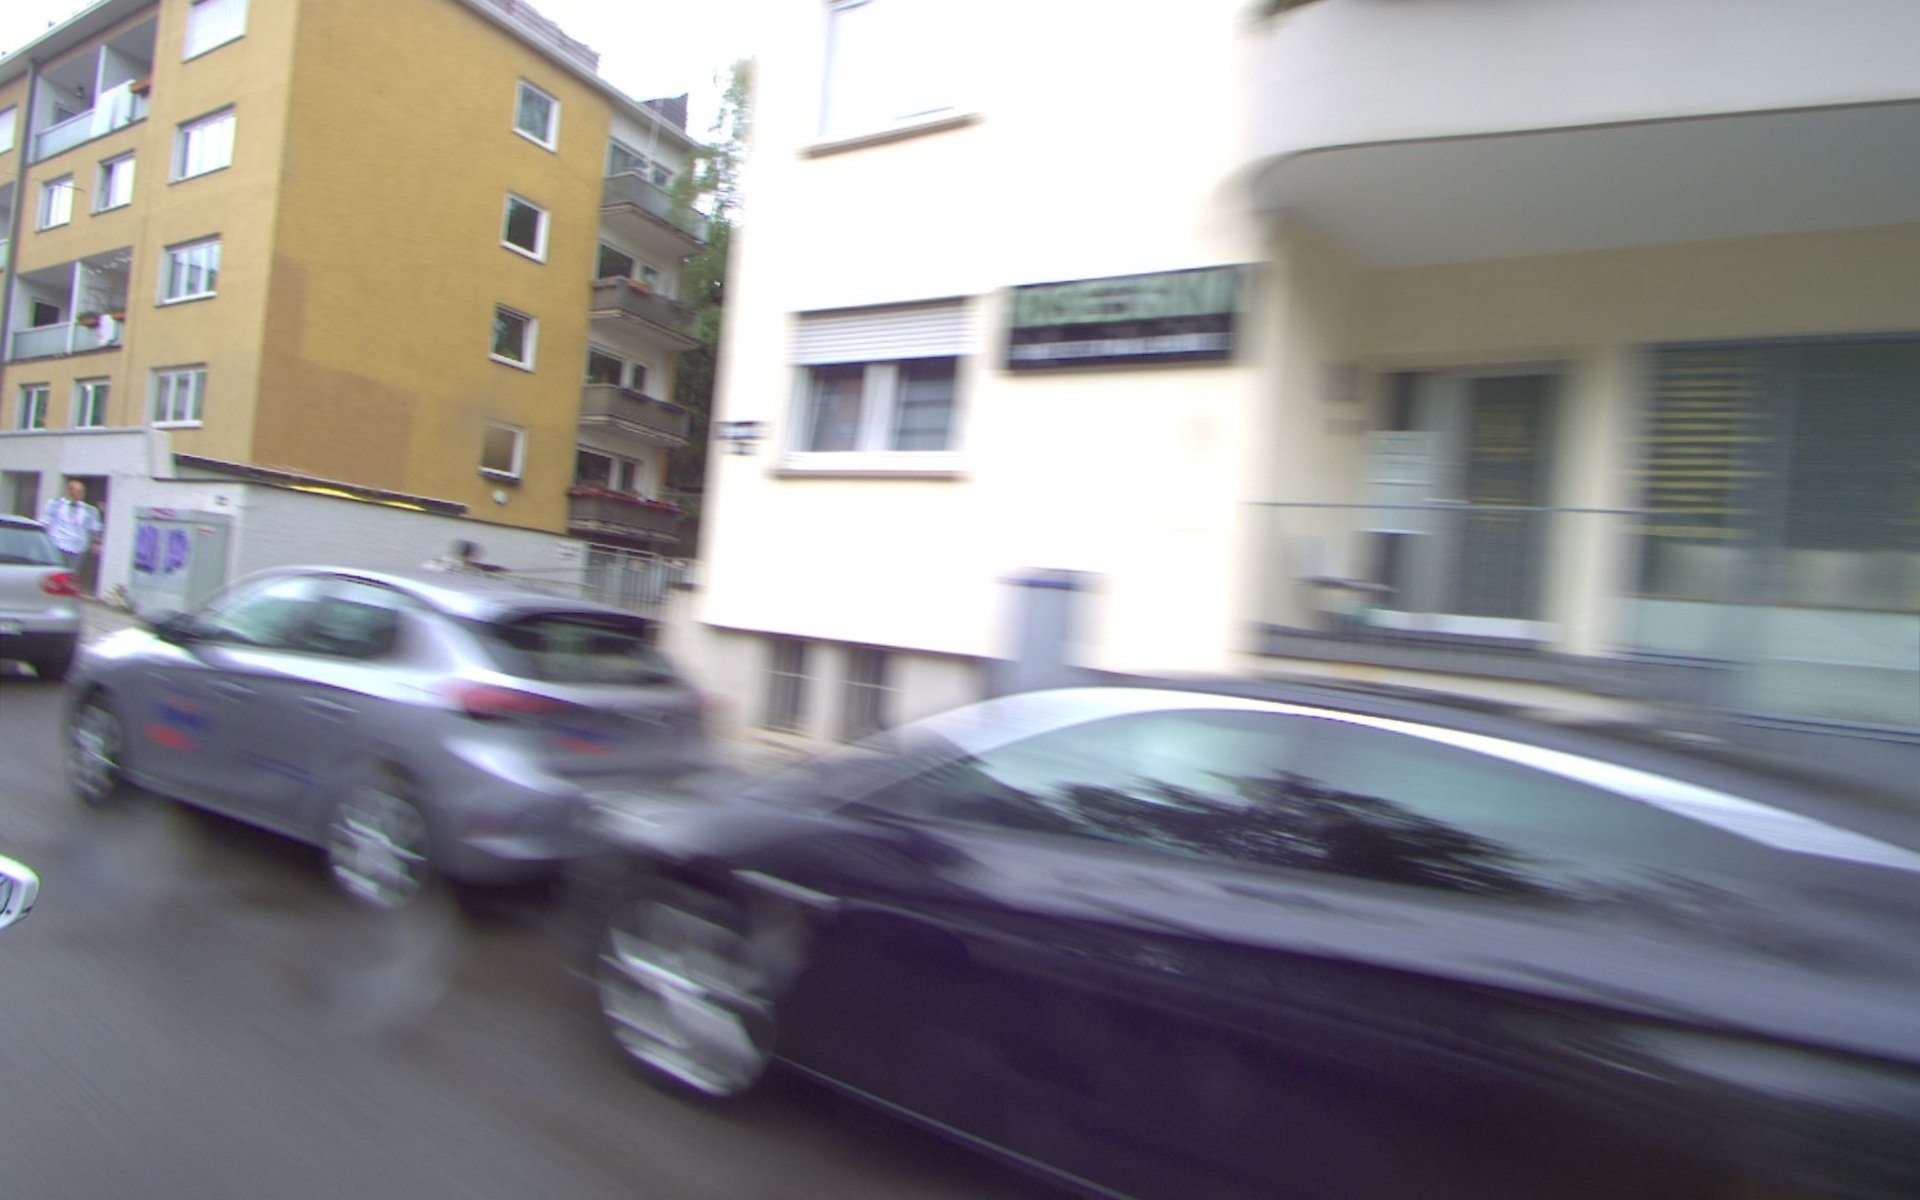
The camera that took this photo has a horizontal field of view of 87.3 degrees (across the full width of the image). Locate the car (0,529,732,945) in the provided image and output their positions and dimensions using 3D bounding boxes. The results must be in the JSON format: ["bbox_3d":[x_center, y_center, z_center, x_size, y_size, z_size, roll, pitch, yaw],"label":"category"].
[{"bbox_3d":[-3.377,0.537,5.586,3.853,1.438,1.667,6,-1,28],"label":"car"}]

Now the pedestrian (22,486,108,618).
[{"bbox_3d":[-12.785,-0.686,14.370,0.733,1.756,0.764,10,4,42],"label":"pedestrian"}]

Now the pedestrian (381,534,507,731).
[{"bbox_3d":[-4.584,0.274,8.935,0.732,1.625,0.663,7,4,35],"label":"pedestrian"}]

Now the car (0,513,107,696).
[{"bbox_3d":[-9.830,-0.148,9.295,3.855,1.520,1.666,6,-1,30],"label":"car"}]

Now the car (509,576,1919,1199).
[{"bbox_3d":[0.715,0.911,2.976,3.974,1.438,1.666,7,-1,31],"label":"car"}]
